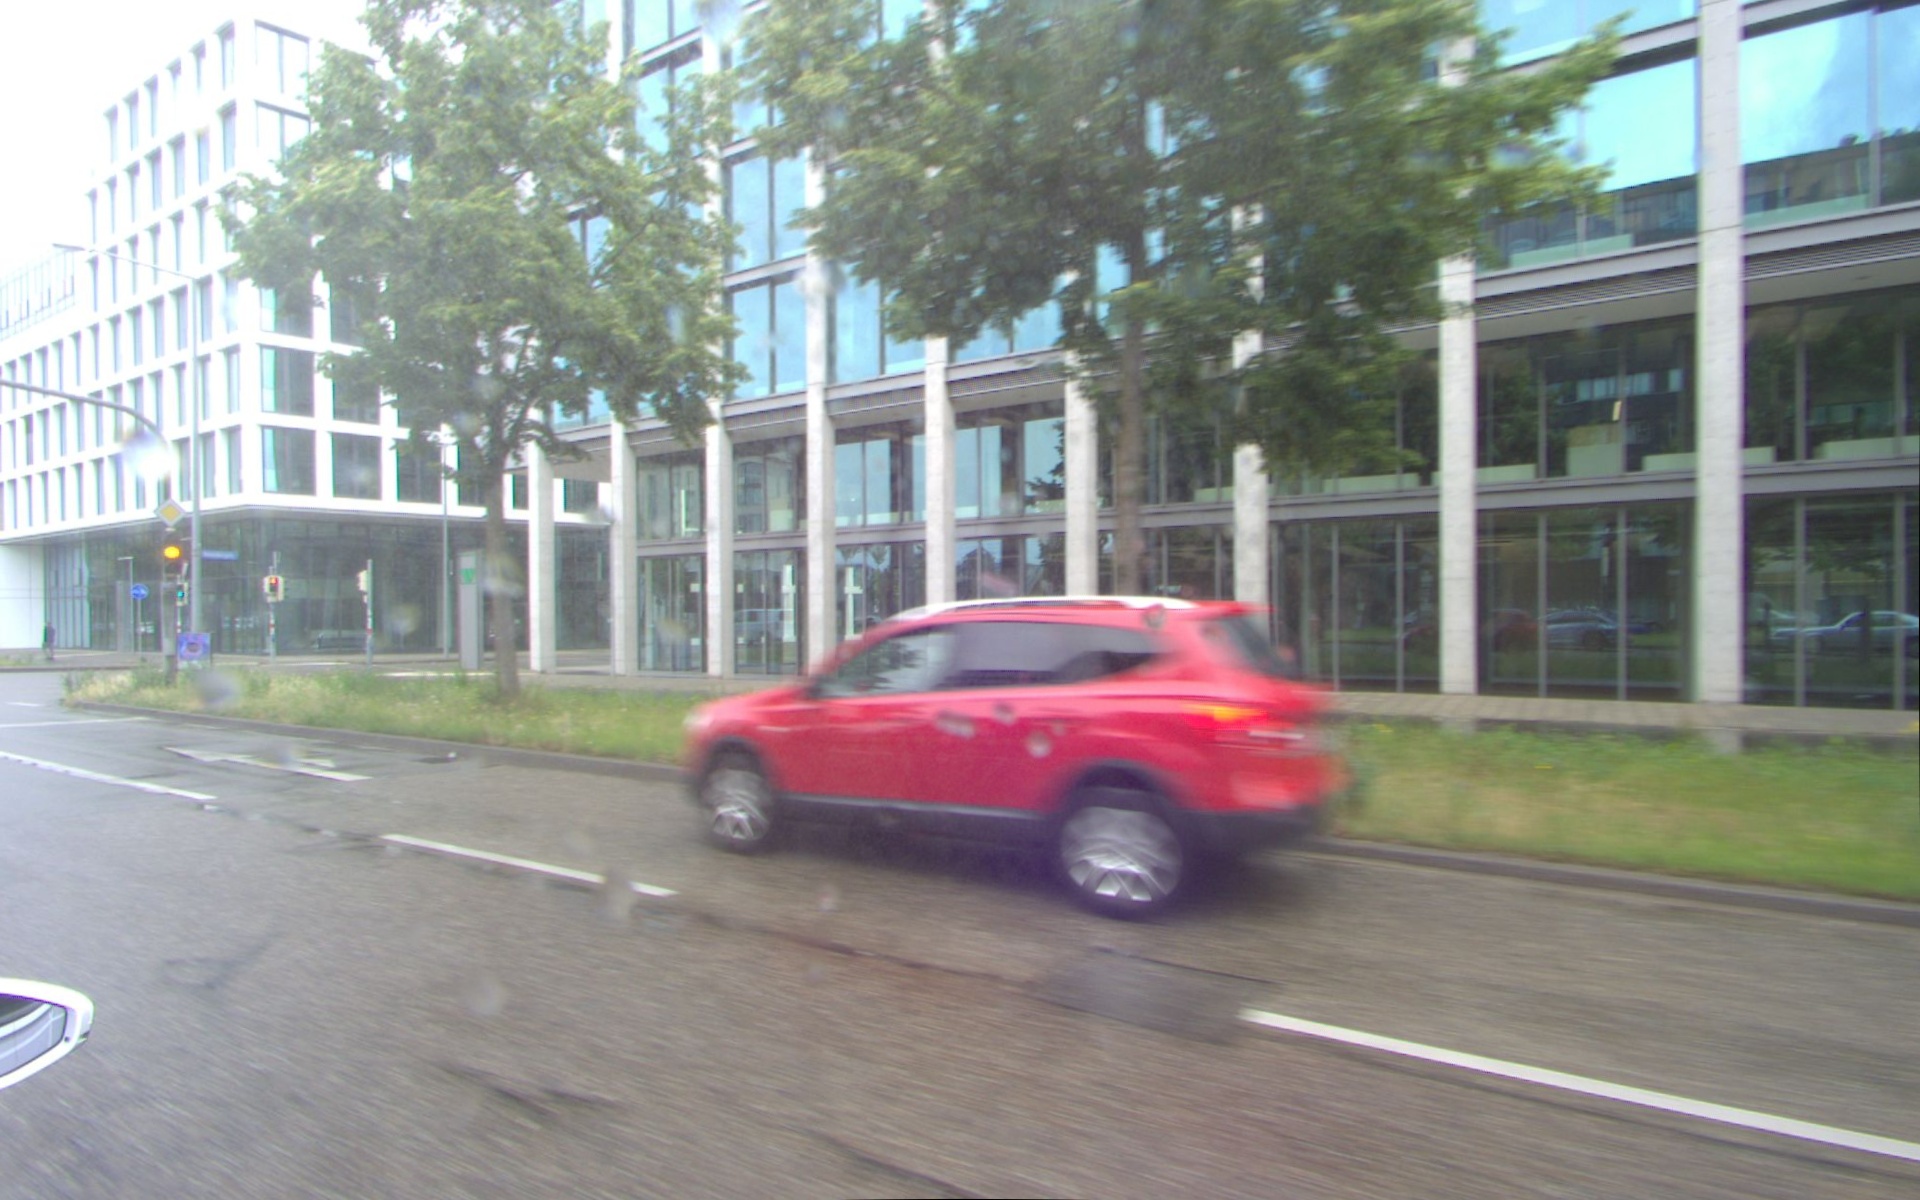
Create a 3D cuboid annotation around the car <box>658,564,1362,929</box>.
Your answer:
[{"bbox_3d":[0.171,0.787,6.424,4.188,1.631,1.791,-3,-5,34],"label":"car"}]

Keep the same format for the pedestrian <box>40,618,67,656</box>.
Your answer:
[{"bbox_3d":[-41.174,1.671,45.471,0.772,1.729,0.677,0,-1,28],"label":"pedestrian"}]
